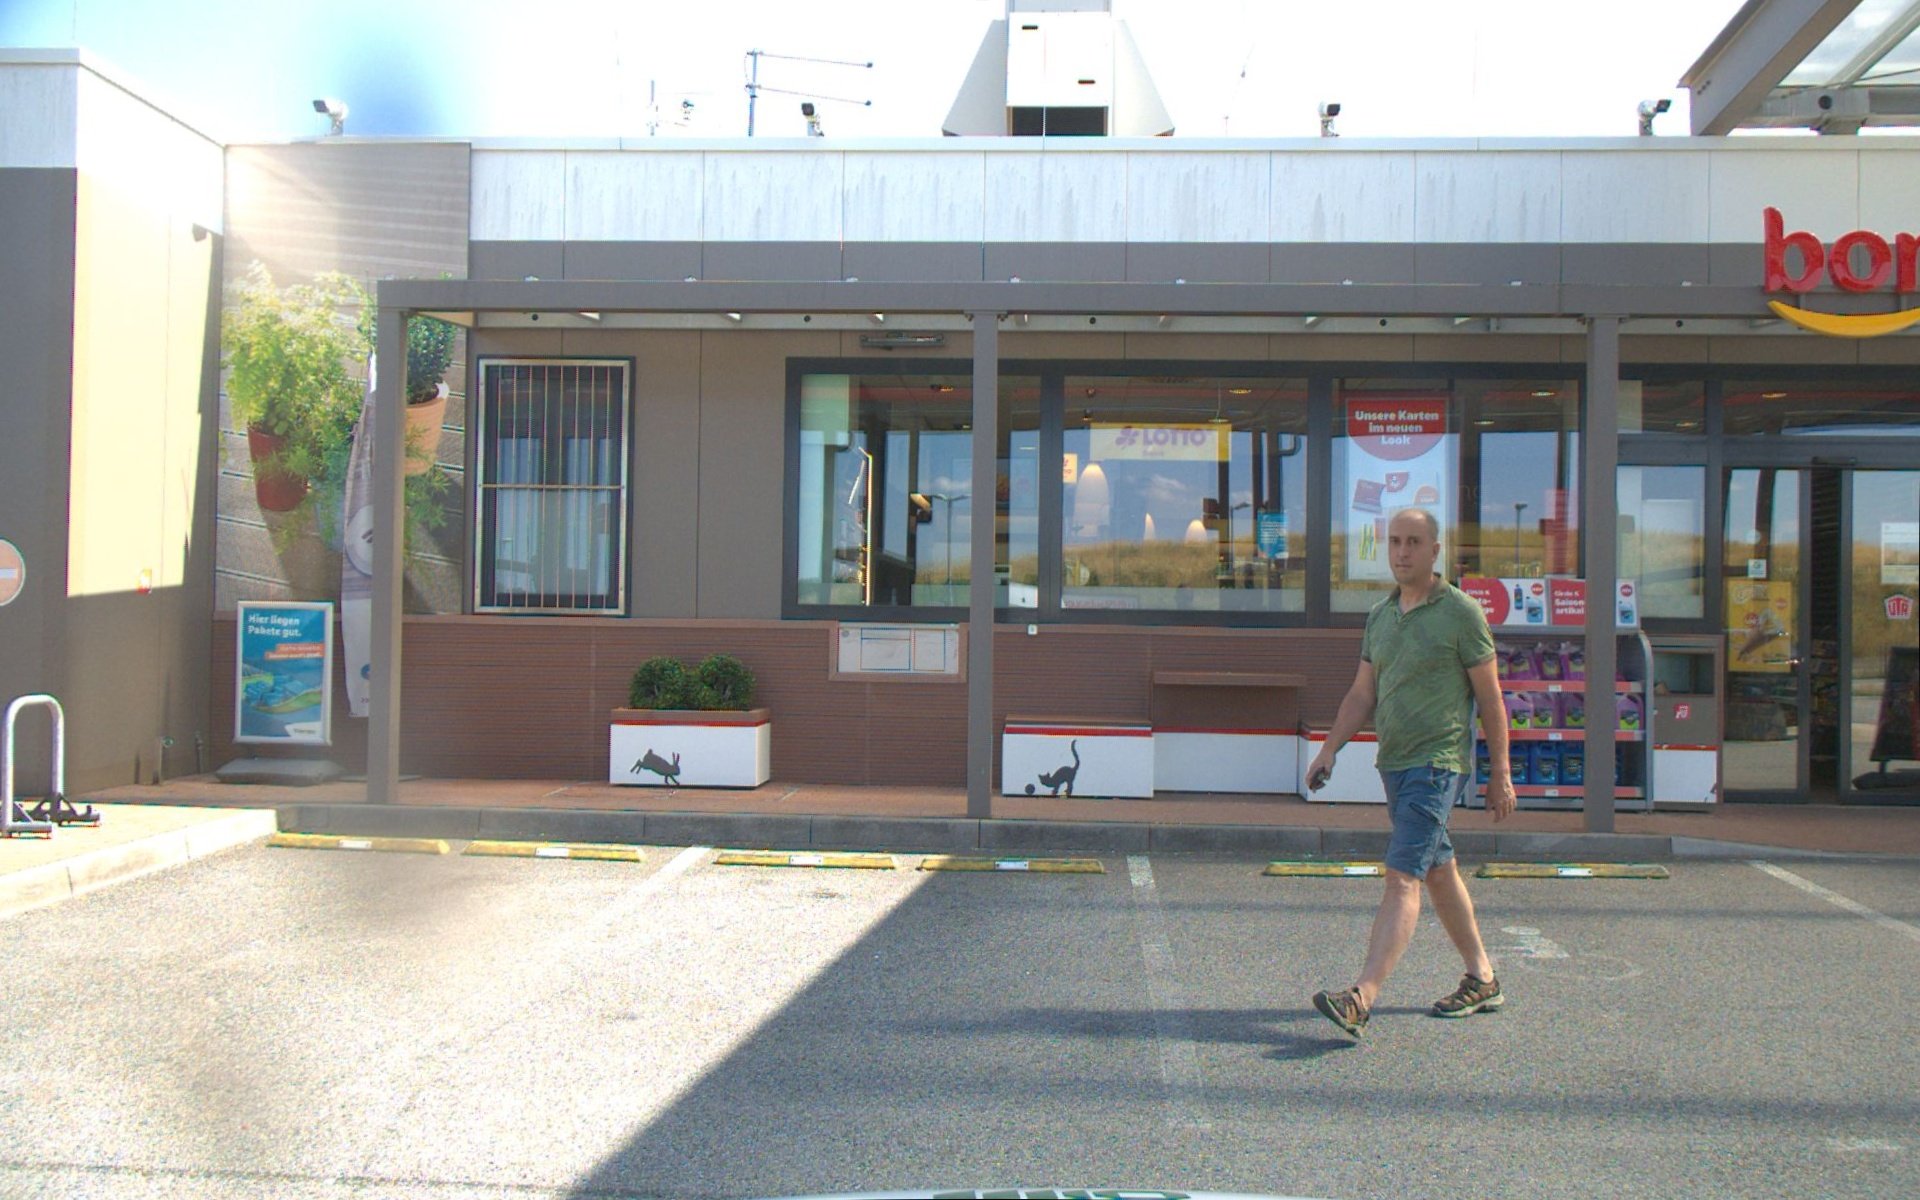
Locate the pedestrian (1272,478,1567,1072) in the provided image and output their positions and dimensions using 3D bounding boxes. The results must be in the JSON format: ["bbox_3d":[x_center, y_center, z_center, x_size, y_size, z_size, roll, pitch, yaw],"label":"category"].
[{"bbox_3d":[1.582,0.539,5.657,0.690,1.829,0.858,0,0,39],"label":"pedestrian"}]
